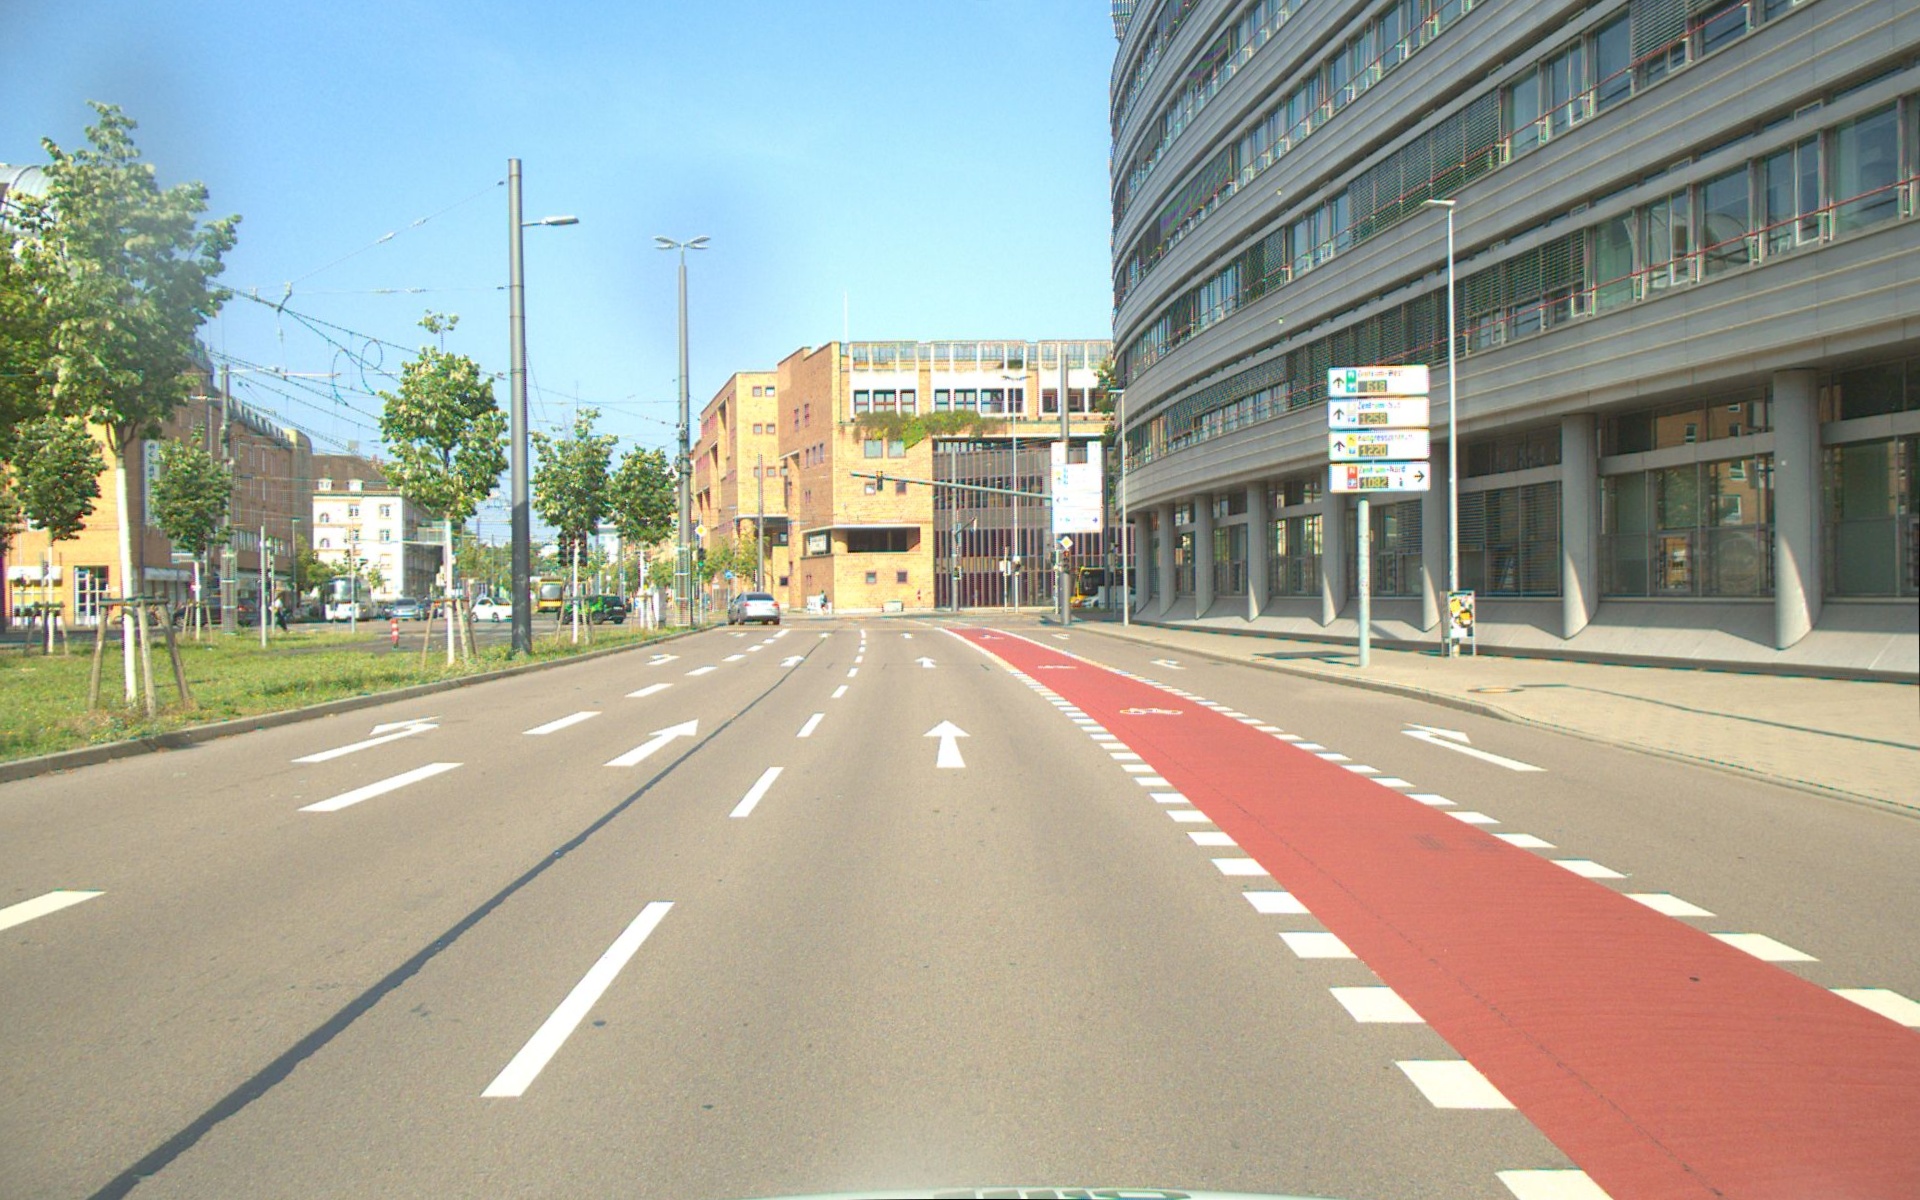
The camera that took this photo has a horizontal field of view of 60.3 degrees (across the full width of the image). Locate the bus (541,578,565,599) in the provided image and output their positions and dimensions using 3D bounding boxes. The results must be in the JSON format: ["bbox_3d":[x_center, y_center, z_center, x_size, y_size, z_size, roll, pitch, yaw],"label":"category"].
[{"bbox_3d":[-40.308,-1.113,163.633,1.963,2.049,3.979,-1,0,-18],"label":"bus"}]

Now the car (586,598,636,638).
[{"bbox_3d":[-18.756,0.985,88.947,1.954,2.049,4.239,-1,-1,-3],"label":"car"}]

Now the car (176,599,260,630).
[{"bbox_3d":[-42.897,0.863,95.659,3.902,1.708,2.001,-1,-1,6],"label":"car"}]

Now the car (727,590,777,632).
[{"bbox_3d":[-9.357,0.504,74.355,1.677,1.786,3.873,-1,-1,-16],"label":"car"}]

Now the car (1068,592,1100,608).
[{"bbox_3d":[8.106,-0.005,108.155,1.914,0.975,1.092,1,-2,-7],"label":"car"}]

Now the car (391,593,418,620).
[{"bbox_3d":[-37.781,0.401,112.616,1.659,1.663,4.370,-1,2,-18],"label":"car"}]

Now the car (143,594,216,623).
[{"bbox_3d":[-47.383,0.496,100.436,3.536,1.652,1.868,-1,0,4],"label":"car"}]

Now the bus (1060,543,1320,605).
[{"bbox_3d":[15.555,-1.761,112.304,17.262,3.877,2.862,-1,-1,-4],"label":"bus"}]

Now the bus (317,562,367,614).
[{"bbox_3d":[-49.731,-0.936,133.306,2.702,3.989,12.164,-1,0,-16],"label":"bus"}]

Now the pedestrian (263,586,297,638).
[{"bbox_3d":[-27.402,0.492,66.646,1.135,2.049,0.774,-1,-1,-13],"label":"pedestrian"}]

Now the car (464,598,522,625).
[{"bbox_3d":[-28.330,0.720,100.291,3.381,1.569,1.727,-2,-2,38],"label":"car"}]
